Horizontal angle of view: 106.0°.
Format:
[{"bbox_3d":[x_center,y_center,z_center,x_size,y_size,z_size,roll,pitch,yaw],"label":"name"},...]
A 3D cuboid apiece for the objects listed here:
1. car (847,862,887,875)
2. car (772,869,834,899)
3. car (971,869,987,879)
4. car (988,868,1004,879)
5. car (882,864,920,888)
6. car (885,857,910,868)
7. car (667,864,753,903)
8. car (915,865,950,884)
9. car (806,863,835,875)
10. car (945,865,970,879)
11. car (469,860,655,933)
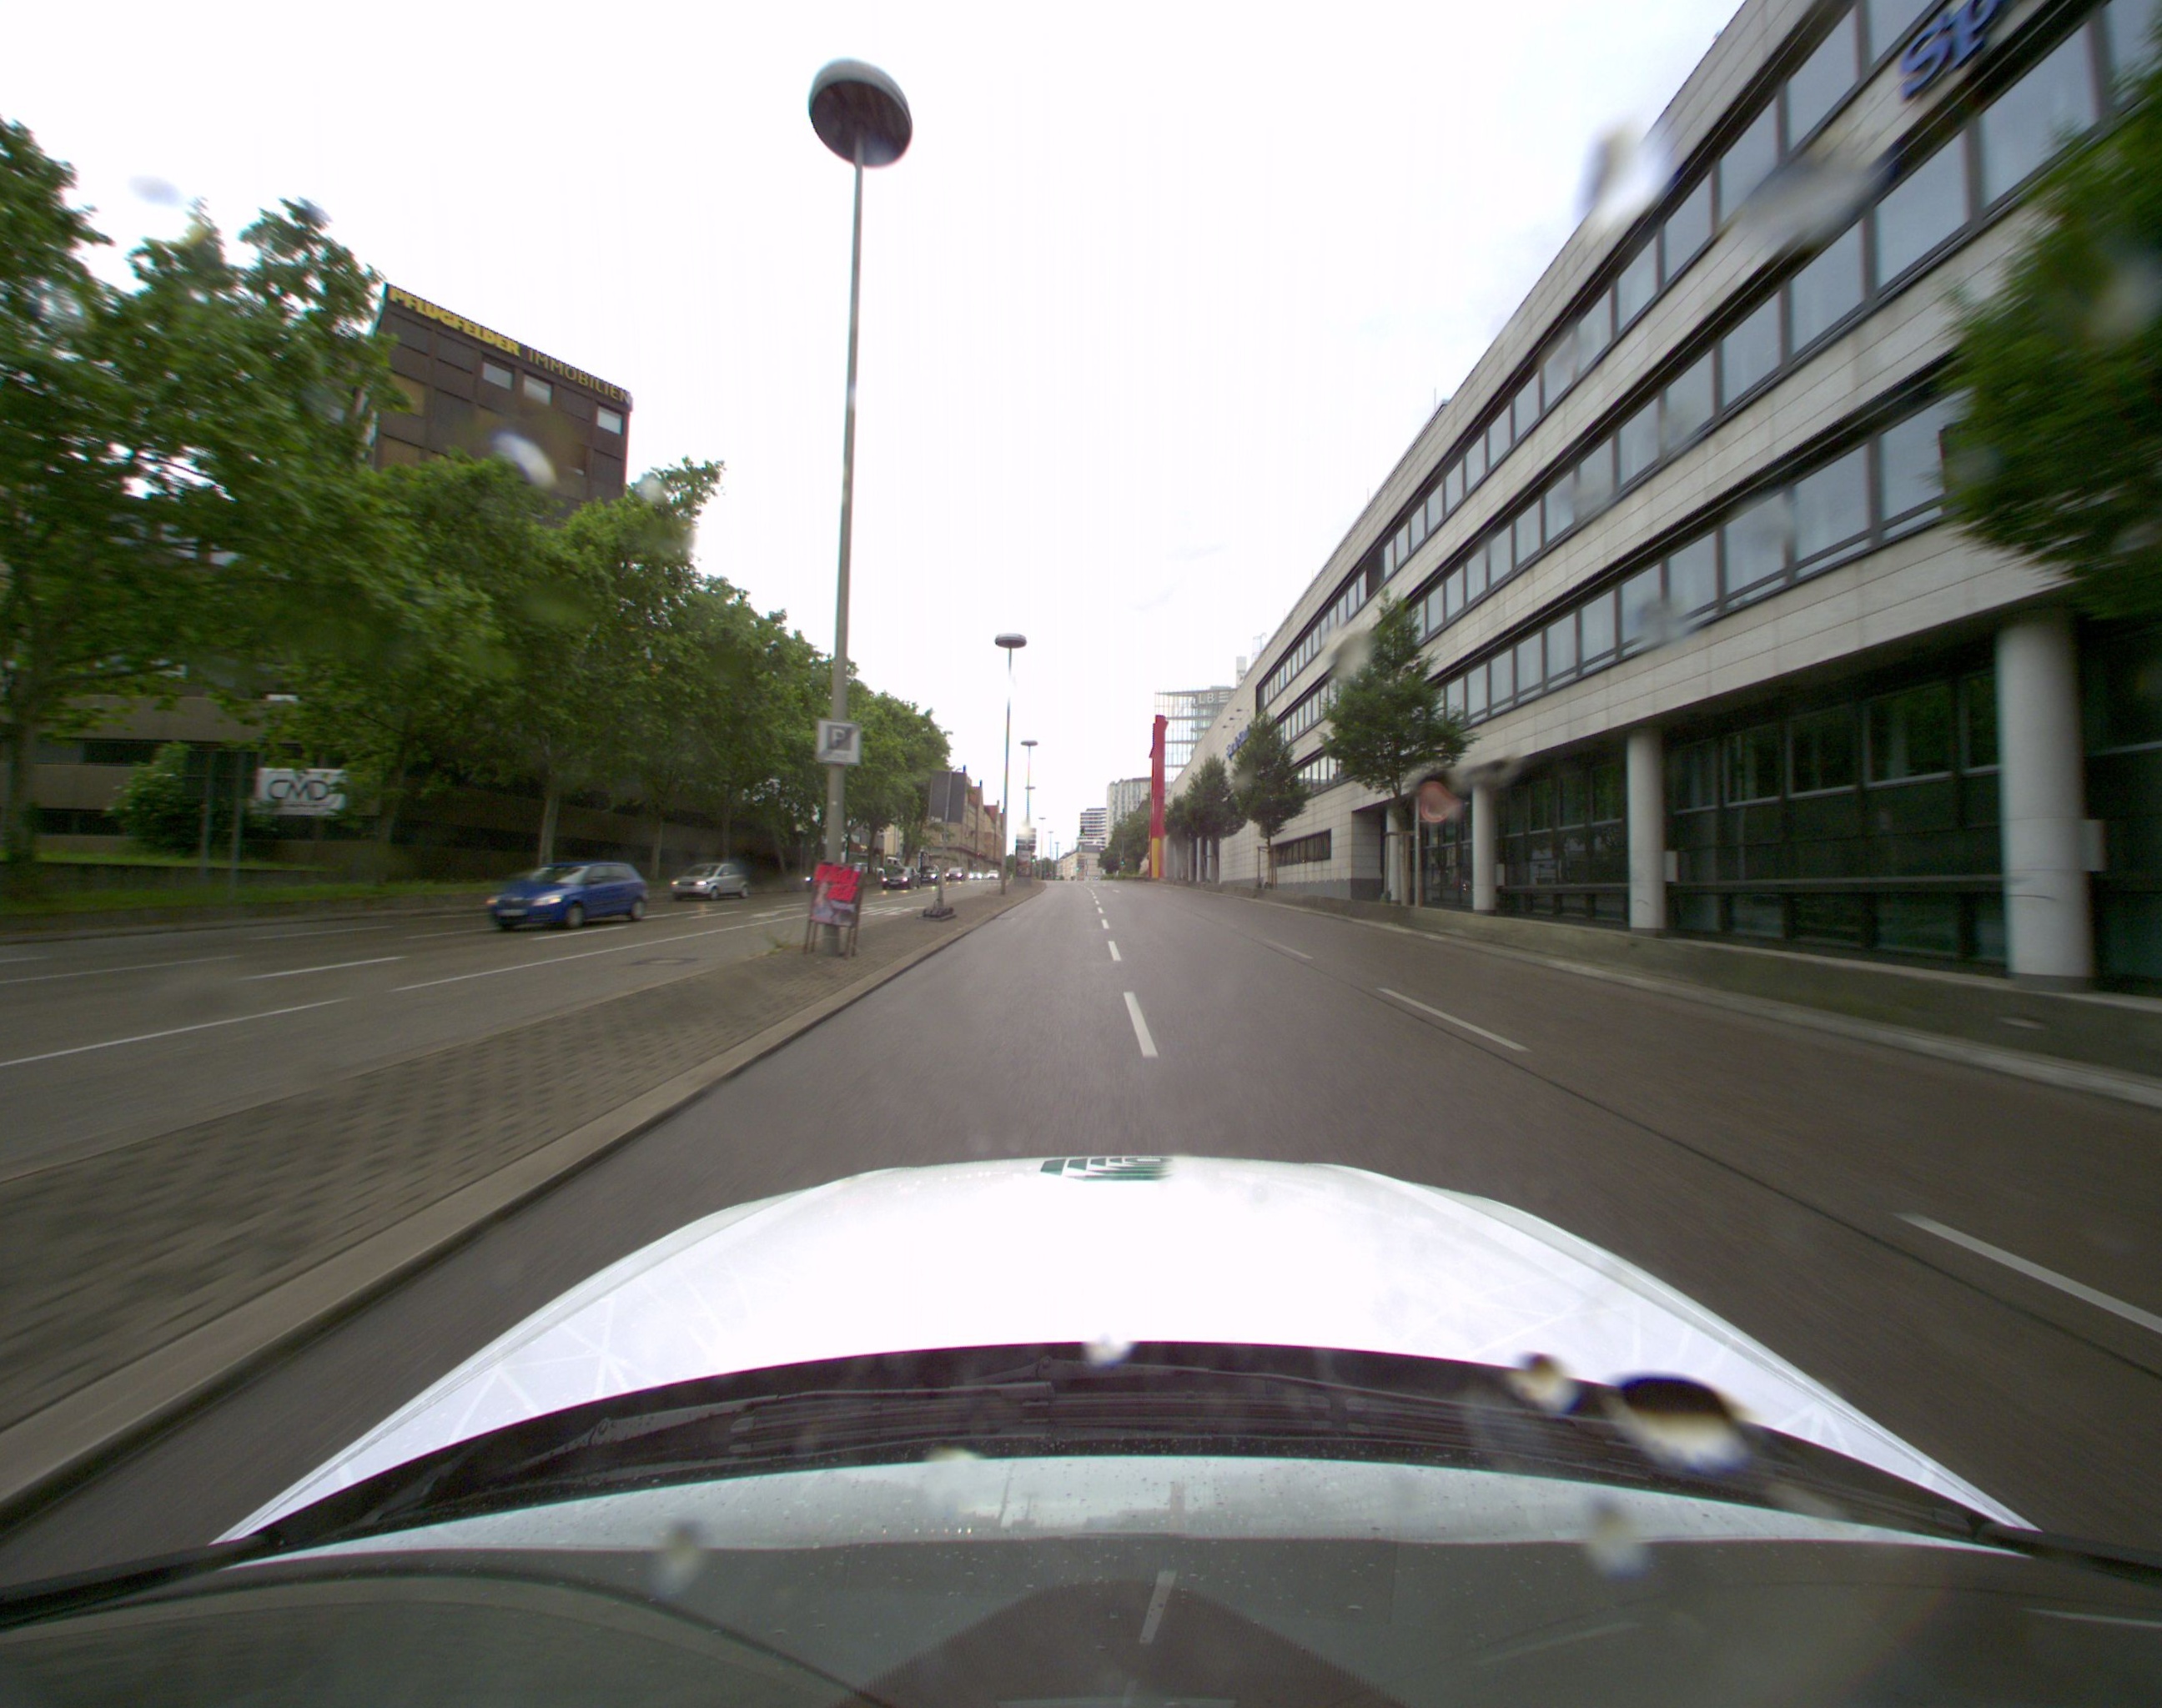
[{"bbox_3d":[-26.563,1.810,101.224,1.802,1.511,4.606,-3,-3,38],"label":"car"},{"bbox_3d":[-14.541,1.527,42.832,1.739,1.446,4.723,0,-1,-1],"label":"car"},{"bbox_3d":[-15.803,3.152,126.669,1.812,1.385,4.002,-1,-2,2],"label":"car"},{"bbox_3d":[-12.684,2.906,121.623,1.812,1.469,4.002,-1,-2,2],"label":"car"},{"bbox_3d":[-11.216,1.357,50.942,1.683,1.410,3.995,0,-1,-3],"label":"car"},{"bbox_3d":[-28.888,1.317,128.282,3.620,1.701,1.823,-1,-2,-3],"label":"car"},{"bbox_3d":[-15.415,1.186,34.071,1.591,1.491,3.760,1,0,5],"label":"car"},{"bbox_3d":[-11.656,1.624,64.073,1.812,1.403,4.002,-1,-2,2],"label":"car"},{"bbox_3d":[-32.020,1.864,100.272,3.209,1.426,1.262,1,-3,-45],"label":"car"},{"bbox_3d":[-12.927,1.933,85.519,1.812,1.403,4.002,-1,-2,2],"label":"car"},{"bbox_3d":[-11.772,0.896,18.835,1.602,1.473,4.068,0,0,1],"label":"car"}]
